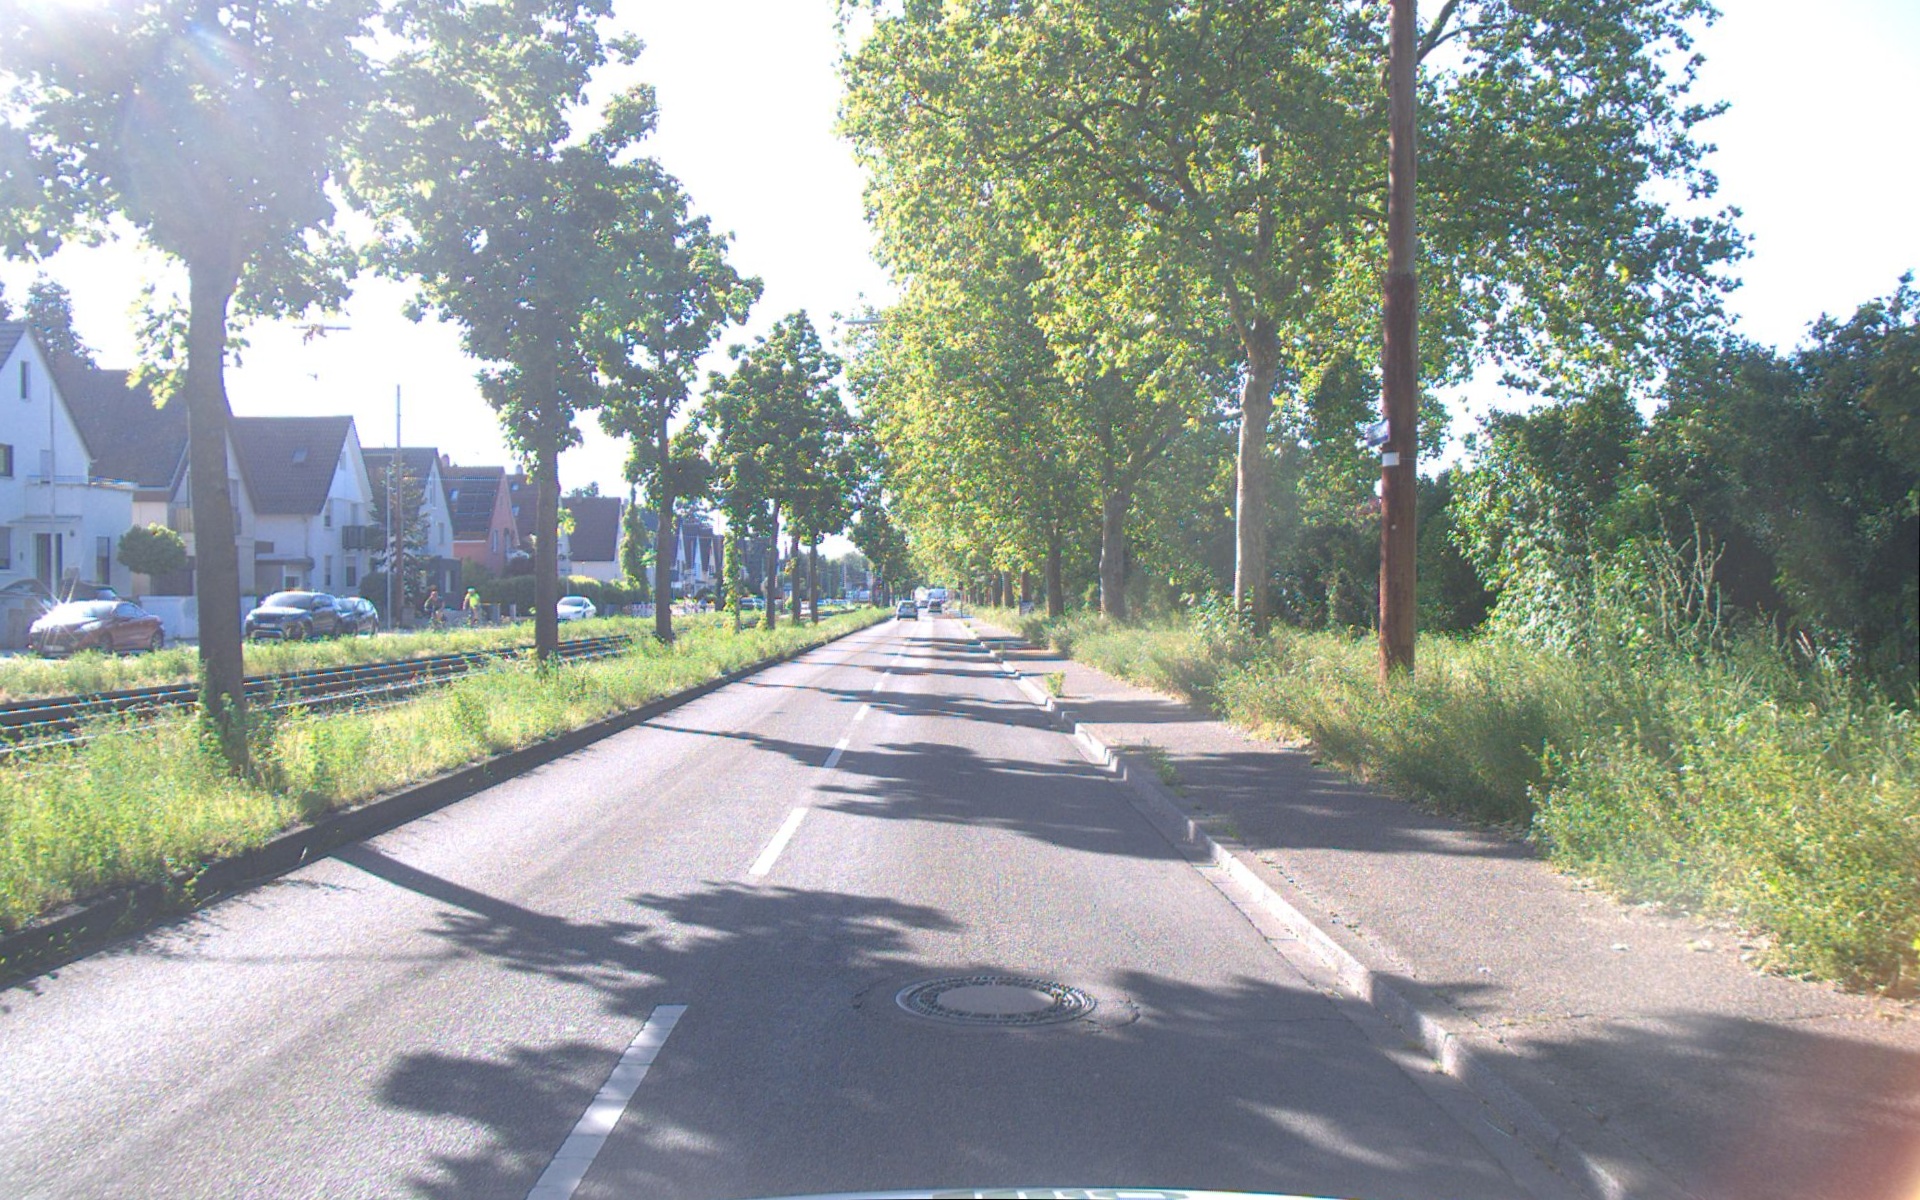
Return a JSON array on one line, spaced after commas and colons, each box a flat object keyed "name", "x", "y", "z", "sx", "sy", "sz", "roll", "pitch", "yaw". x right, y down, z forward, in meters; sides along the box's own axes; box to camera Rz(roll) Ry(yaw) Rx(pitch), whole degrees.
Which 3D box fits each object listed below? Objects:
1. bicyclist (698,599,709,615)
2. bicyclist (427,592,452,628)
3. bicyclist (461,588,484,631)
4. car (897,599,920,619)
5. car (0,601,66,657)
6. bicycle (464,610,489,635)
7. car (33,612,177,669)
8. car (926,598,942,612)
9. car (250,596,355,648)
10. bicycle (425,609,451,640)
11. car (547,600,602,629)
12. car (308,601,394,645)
[{"name": "bicyclist", "x": -20.738, "y": 0.567, "z": 133.686, "sx": 0.783, "sy": 1.300, "sz": 0.735, "roll": 1, "pitch": -1, "yaw": -6}, {"name": "bicyclist", "x": -19.444, "y": 0.374, "z": 61.810, "sx": 0.674, "sy": 1.360, "sz": 0.881, "roll": 0, "pitch": 0, "yaw": -1}, {"name": "bicyclist", "x": -19.404, "y": 0.366, "z": 65.834, "sx": 0.674, "sy": 1.681, "sz": 0.881, "roll": 0, "pitch": 0, "yaw": -1}, {"name": "car", "x": -3.876, "y": 0.696, "z": 125.448, "sx": 1.703, "sy": 1.425, "sz": 3.276, "roll": 1, "pitch": -1, "yaw": -1}, {"name": "car", "x": -26.843, "y": 0.752, "z": 44.837, "sx": 4.130, "sy": 1.489, "sz": 1.936, "roll": 1, "pitch": -1, "yaw": -5}, {"name": "bicycle", "x": -19.372, "y": 0.893, "z": 66.276, "sx": 0.390, "sy": 0.944, "sz": 2.096, "roll": 0, "pitch": 0, "yaw": 0}, {"name": "car", "x": -21.389, "y": 0.987, "z": 41.545, "sx": 1.463, "sy": 1.349, "sz": 4.000, "roll": 1, "pitch": -1, "yaw": 1}, {"name": "car", "x": -3.010, "y": 0.615, "z": 192.432, "sx": 1.725, "sy": 1.539, "sz": 3.276, "roll": 1, "pitch": -1, "yaw": 0}, {"name": "car", "x": -21.374, "y": 0.705, "z": 53.968, "sx": 1.610, "sy": 1.595, "sz": 4.386, "roll": 1, "pitch": -1, "yaw": 0}, {"name": "bicycle", "x": -19.438, "y": 0.902, "z": 61.612, "sx": 0.390, "sy": 1.088, "sz": 1.879, "roll": 0, "pitch": 0, "yaw": 0}, {"name": "car", "x": -22.664, "y": 0.837, "z": 97.420, "sx": 1.952, "sy": 1.627, "sz": 4.732, "roll": 1, "pitch": -1, "yaw": 2}, {"name": "car", "x": -21.398, "y": 0.812, "z": 58.232, "sx": 1.581, "sy": 1.476, "sz": 3.988, "roll": 1, "pitch": -1, "yaw": -1}]
